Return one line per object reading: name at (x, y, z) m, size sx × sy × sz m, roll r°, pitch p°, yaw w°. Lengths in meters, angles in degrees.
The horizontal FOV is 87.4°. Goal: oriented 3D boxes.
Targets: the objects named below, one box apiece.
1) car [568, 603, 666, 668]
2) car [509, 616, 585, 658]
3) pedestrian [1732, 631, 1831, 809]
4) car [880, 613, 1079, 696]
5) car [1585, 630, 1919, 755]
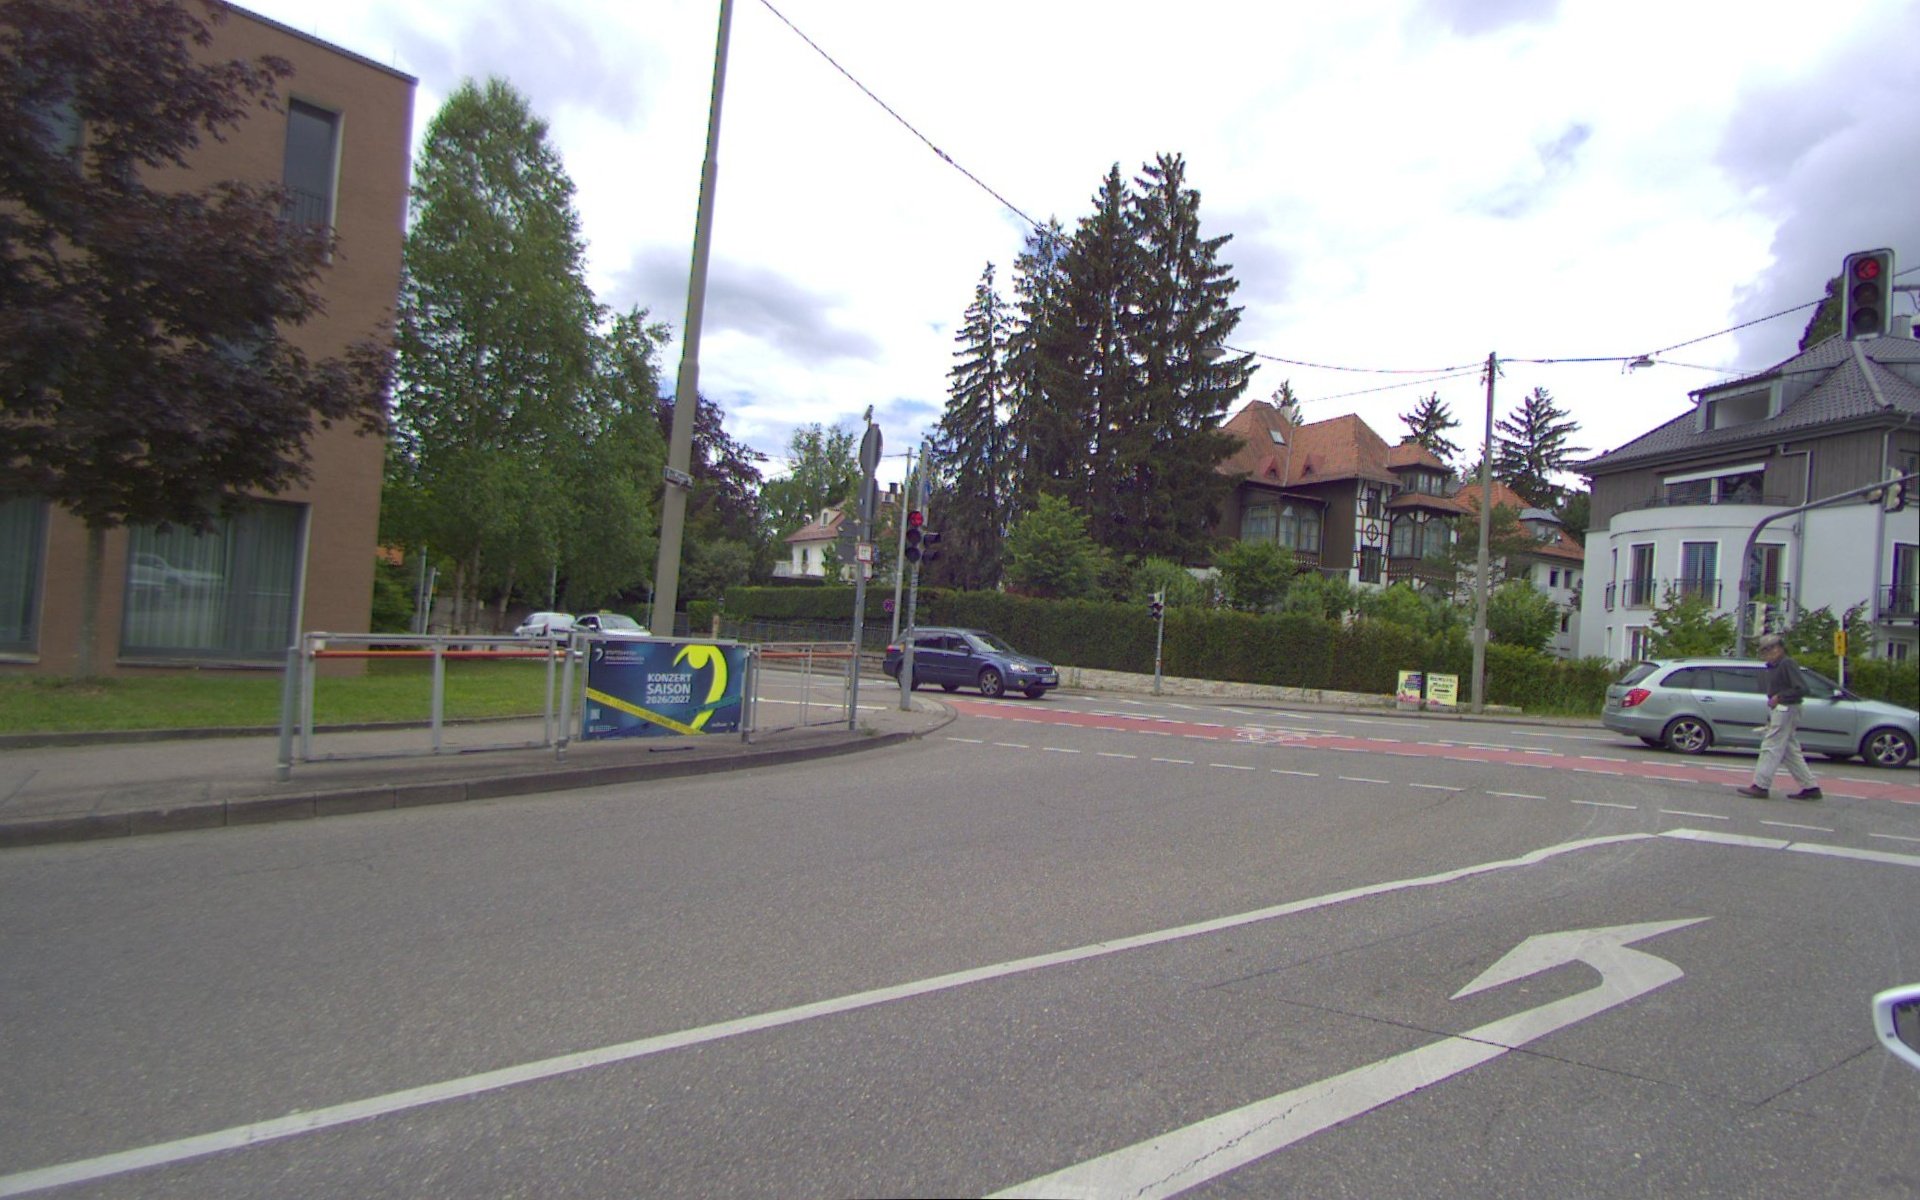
car at (-12.539, 1.214, 36.595) m, size 1.985 × 2.041 × 4.112 m, roll 0°, pitch 3°, yaw -41°
car at (-21.192, 1.832, 51.440) m, size 4.292 × 1.882 × 1.989 m, roll 2°, pitch 1°, yaw 43°
pedestrian at (8.387, 1.186, 10.282) m, size 0.688 × 1.704 × 0.684 m, roll 1°, pitch 0°, yaw 34°
car at (0.392, 1.246, 23.341) m, size 4.337 × 1.706 × 1.906 m, roll -1°, pitch -6°, yaw 39°
car at (12.348, 1.369, 15.665) m, size 4.114 × 1.496 × 1.712 m, roll 3°, pitch 2°, yaw 21°
